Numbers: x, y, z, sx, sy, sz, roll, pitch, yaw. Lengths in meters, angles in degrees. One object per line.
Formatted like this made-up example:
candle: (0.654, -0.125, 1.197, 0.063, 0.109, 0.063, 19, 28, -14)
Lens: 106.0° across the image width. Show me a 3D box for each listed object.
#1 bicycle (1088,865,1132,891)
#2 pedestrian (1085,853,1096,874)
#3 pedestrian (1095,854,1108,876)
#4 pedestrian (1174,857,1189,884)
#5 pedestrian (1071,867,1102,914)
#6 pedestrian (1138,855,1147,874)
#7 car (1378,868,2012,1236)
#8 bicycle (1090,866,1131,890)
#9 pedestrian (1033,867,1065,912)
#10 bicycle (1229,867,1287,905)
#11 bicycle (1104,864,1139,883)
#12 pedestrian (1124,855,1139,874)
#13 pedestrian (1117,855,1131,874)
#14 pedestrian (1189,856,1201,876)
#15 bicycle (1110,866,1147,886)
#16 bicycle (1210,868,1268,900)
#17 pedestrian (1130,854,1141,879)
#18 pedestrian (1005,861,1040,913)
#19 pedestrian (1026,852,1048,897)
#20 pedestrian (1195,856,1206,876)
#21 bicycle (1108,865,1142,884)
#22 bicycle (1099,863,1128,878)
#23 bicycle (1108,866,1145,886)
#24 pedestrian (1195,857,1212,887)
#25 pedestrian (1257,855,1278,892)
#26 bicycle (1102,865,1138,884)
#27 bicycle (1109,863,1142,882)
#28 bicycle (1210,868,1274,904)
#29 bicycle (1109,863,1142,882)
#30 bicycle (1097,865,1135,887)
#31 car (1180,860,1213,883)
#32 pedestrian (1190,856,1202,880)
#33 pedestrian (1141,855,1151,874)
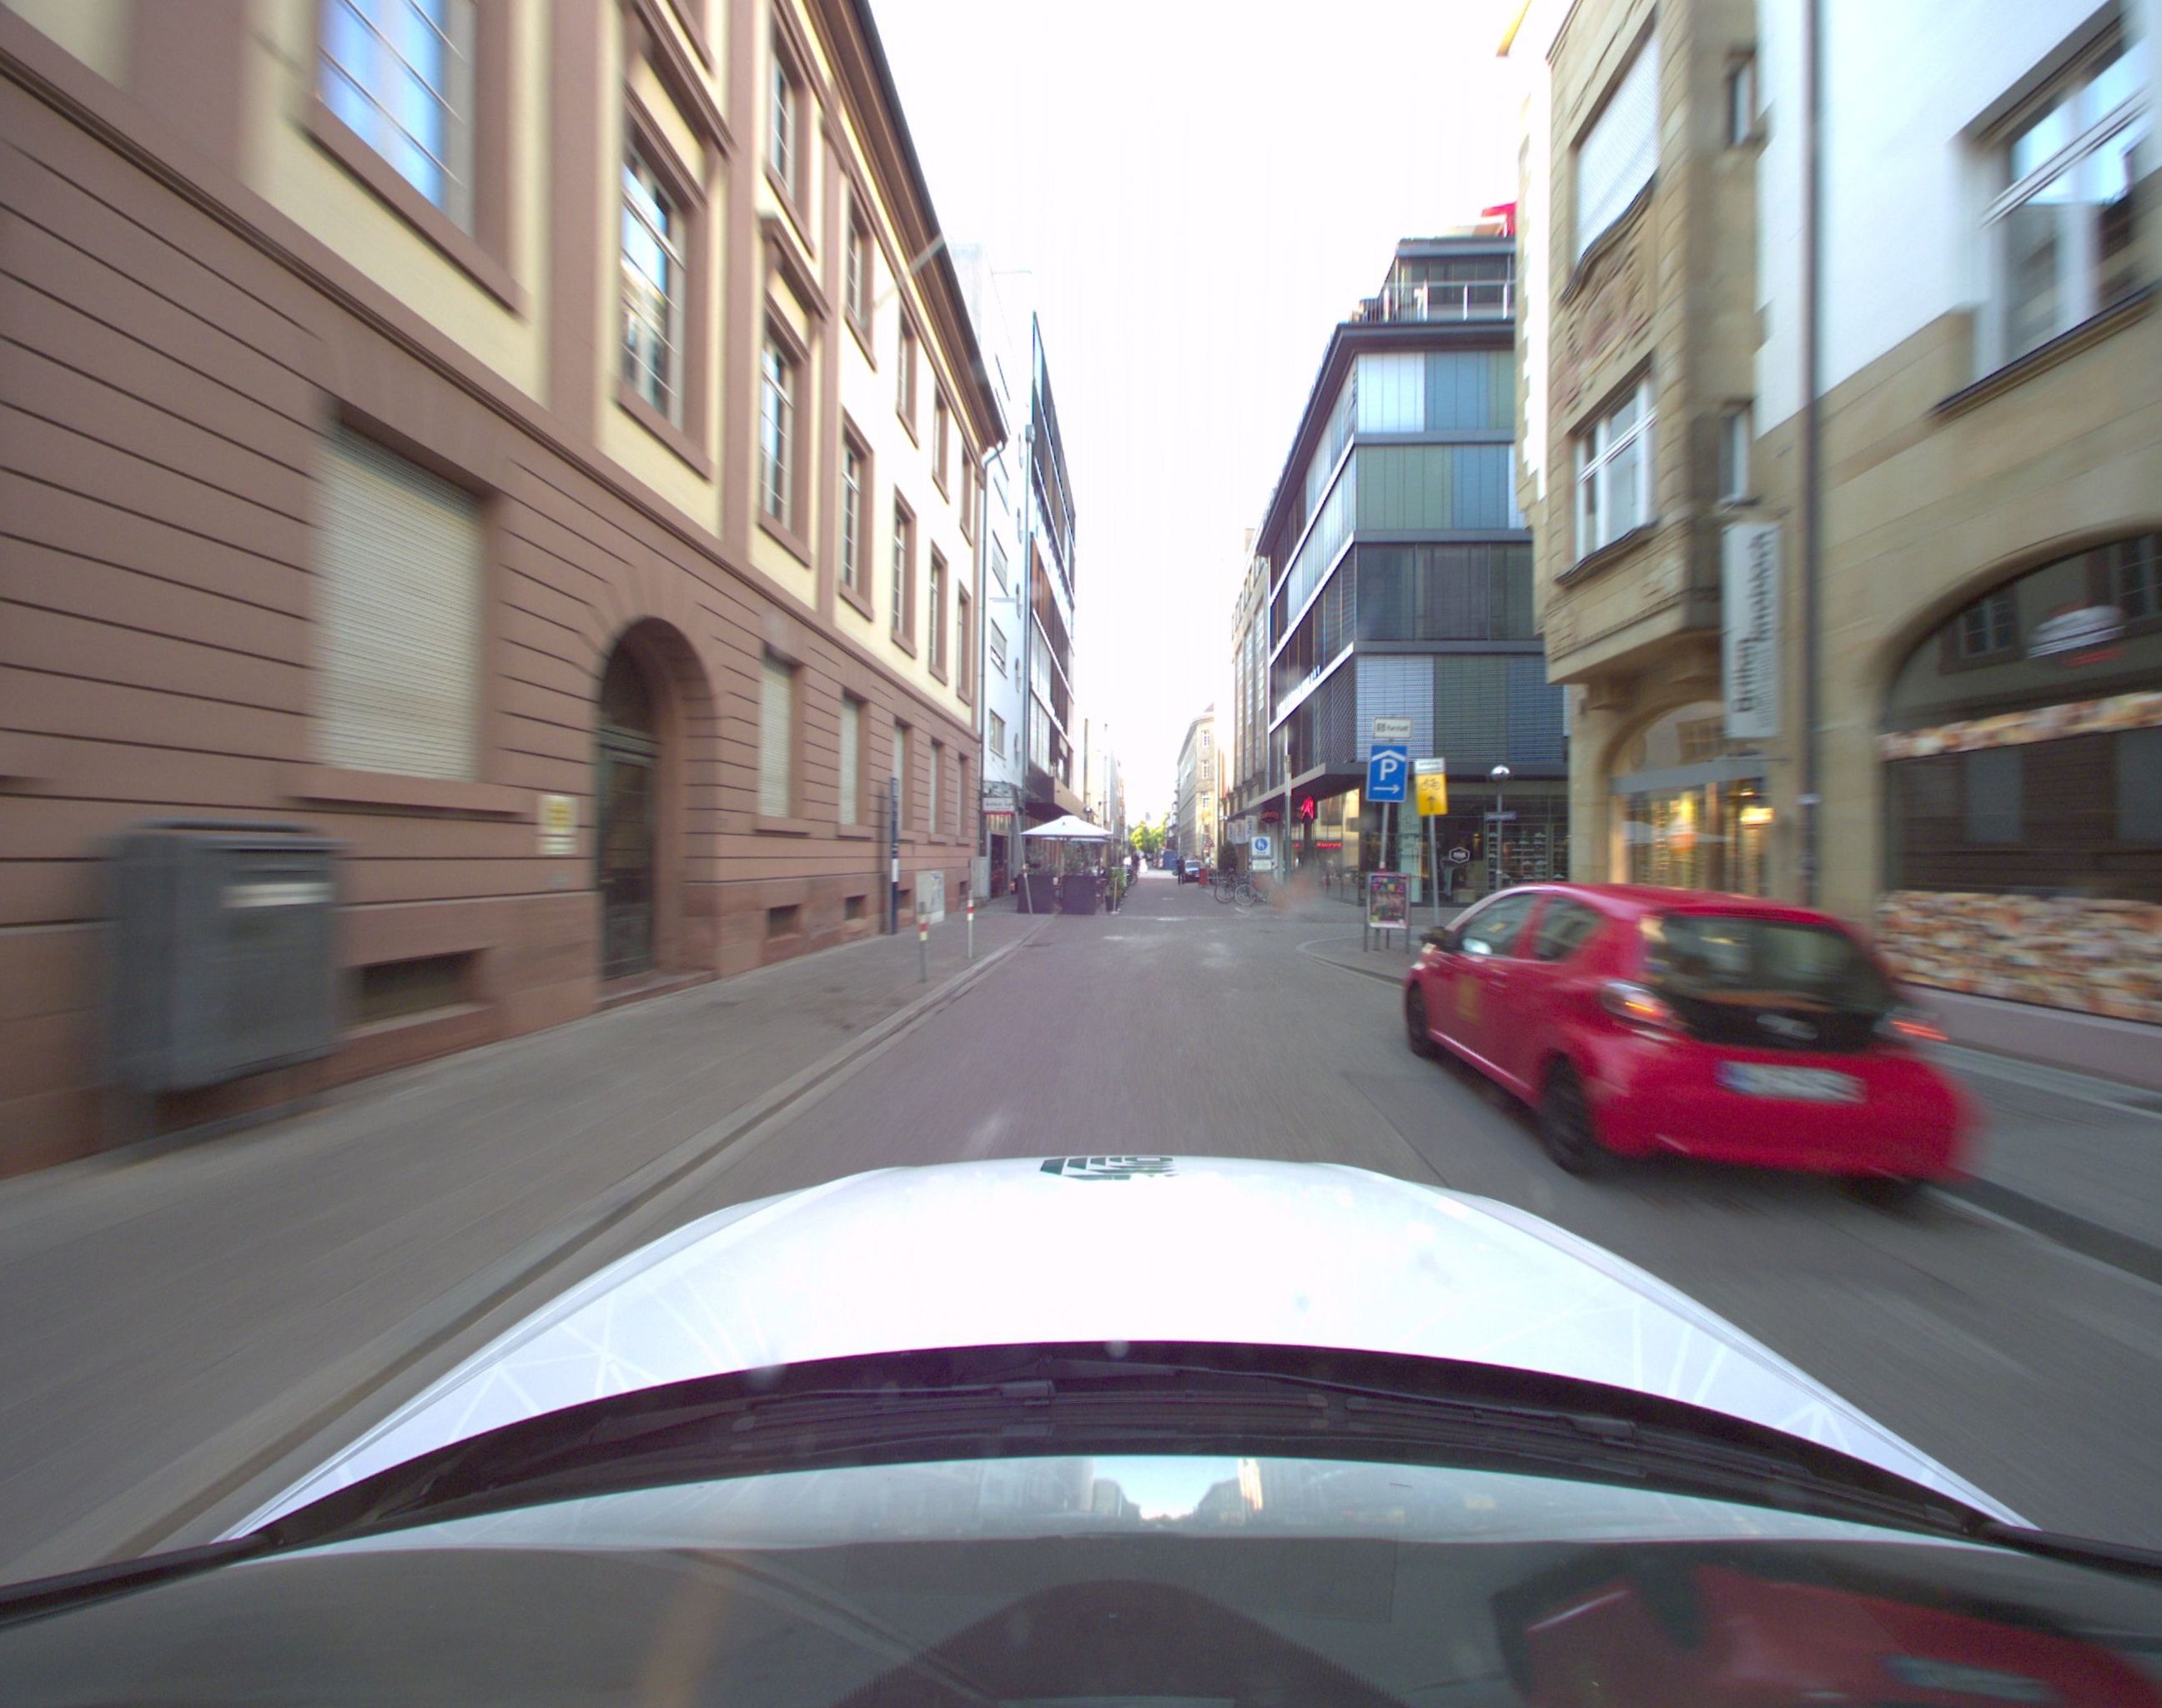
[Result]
bicycle: (1.337, 1.098, 37.343, 1.939, 1.074, 0.467, 3, 0, 3)
pedestrian: (0.804, 0.820, 71.423, 0.900, 1.859, 0.836, 0, -1, 4)
pedestrian: (1.816, 0.975, 71.873, 1.020, 1.859, 0.907, 0, -1, 4)
pedestrian: (6.201, 1.025, 50.494, 0.895, 1.661, 0.932, 0, -1, 5)
pedestrian: (0.140, 0.962, 21.607, 0.788, 1.183, 0.673, 2, -1, -1)
pedestrian: (6.042, 1.008, 79.736, 0.900, 1.859, 0.836, 0, -1, 4)
car: (3.307, 0.879, 5.342, 1.606, 1.425, 3.602, 4, 0, 5)
bicycle: (1.424, 1.150, 39.460, 1.939, 1.074, 0.467, 3, 0, 3)
pedestrian: (-0.870, 0.979, 22.413, 0.787, 1.183, 0.674, 2, -1, 2)
bicycle: (5.544, 0.992, 25.573, 1.690, 1.136, 0.467, -2, -1, 3)
bicycle: (2.455, 1.190, 49.304, 2.039, 1.050, 0.467, 3, 0, 3)
pedestrian: (4.639, 0.975, 74.600, 0.987, 1.734, 1.000, 1, -1, -43)
pedestrian: (3.957, 0.987, 75.450, 0.939, 1.734, 0.854, 1, -1, -43)
pedestrian: (9.817, 1.025, 70.184, 0.901, 1.661, 0.793, 0, -1, 2)
bicycle: (2.640, 1.211, 45.380, 2.039, 1.016, 0.467, 3, 0, 3)
bicycle: (5.766, 1.089, 29.799, 2.025, 1.121, 0.467, -2, -1, 3)
pedestrian: (4.187, 0.941, 62.357, 0.829, 1.859, 0.908, 0, -1, 3)
pedestrian: (-1.550, 0.854, 21.633, 0.787, 1.331, 0.674, 2, -1, 2)
pedestrian: (-1.623, 0.763, 30.175, 0.788, 1.649, 0.725, 0, -1, -1)
pedestrian: (10.182, 1.020, 69.451, 0.901, 1.661, 0.793, 0, -1, 2)
bicycle: (2.720, 1.270, 50.599, 2.039, 1.050, 0.467, 3, 0, 3)
bicycle: (2.318, 1.194, 58.839, 2.039, 1.013, 0.467, 3, 0, 3)
bicycle: (2.592, 1.234, 46.304, 2.039, 1.016, 0.467, 3, 0, 3)
pedestrian: (6.403, 0.935, 42.550, 0.793, 1.565, 0.860, 0, -1, 5)
pedestrian: (8.057, 0.833, 35.171, 0.793, 1.565, 0.860, 0, -1, 7)
bicycle: (2.307, 1.212, 47.936, 2.039, 1.050, 0.467, 3, 0, 3)
bicycle: (2.887, 1.195, 52.681, 2.039, 1.095, 0.467, 3, 0, 3)
bicycle: (5.351, 1.055, 27.149, 2.001, 1.121, 0.467, -2, -1, 3)
bicycle: (2.845, 1.165, 51.826, 2.039, 1.095, 0.467, 3, 0, 3)
bicycle: (1.812, 1.137, 42.262, 1.939, 1.074, 0.467, 3, 0, 3)
car: (7.673, 1.159, 54.257, 1.747, 1.441, 3.929, 0, -1, 2)
pedestrian: (9.062, 1.124, 64.060, 0.900, 1.859, 0.836, 0, -1, 3)
pedestrian: (6.308, 0.999, 78.920, 0.900, 1.859, 0.836, 0, -1, 4)
